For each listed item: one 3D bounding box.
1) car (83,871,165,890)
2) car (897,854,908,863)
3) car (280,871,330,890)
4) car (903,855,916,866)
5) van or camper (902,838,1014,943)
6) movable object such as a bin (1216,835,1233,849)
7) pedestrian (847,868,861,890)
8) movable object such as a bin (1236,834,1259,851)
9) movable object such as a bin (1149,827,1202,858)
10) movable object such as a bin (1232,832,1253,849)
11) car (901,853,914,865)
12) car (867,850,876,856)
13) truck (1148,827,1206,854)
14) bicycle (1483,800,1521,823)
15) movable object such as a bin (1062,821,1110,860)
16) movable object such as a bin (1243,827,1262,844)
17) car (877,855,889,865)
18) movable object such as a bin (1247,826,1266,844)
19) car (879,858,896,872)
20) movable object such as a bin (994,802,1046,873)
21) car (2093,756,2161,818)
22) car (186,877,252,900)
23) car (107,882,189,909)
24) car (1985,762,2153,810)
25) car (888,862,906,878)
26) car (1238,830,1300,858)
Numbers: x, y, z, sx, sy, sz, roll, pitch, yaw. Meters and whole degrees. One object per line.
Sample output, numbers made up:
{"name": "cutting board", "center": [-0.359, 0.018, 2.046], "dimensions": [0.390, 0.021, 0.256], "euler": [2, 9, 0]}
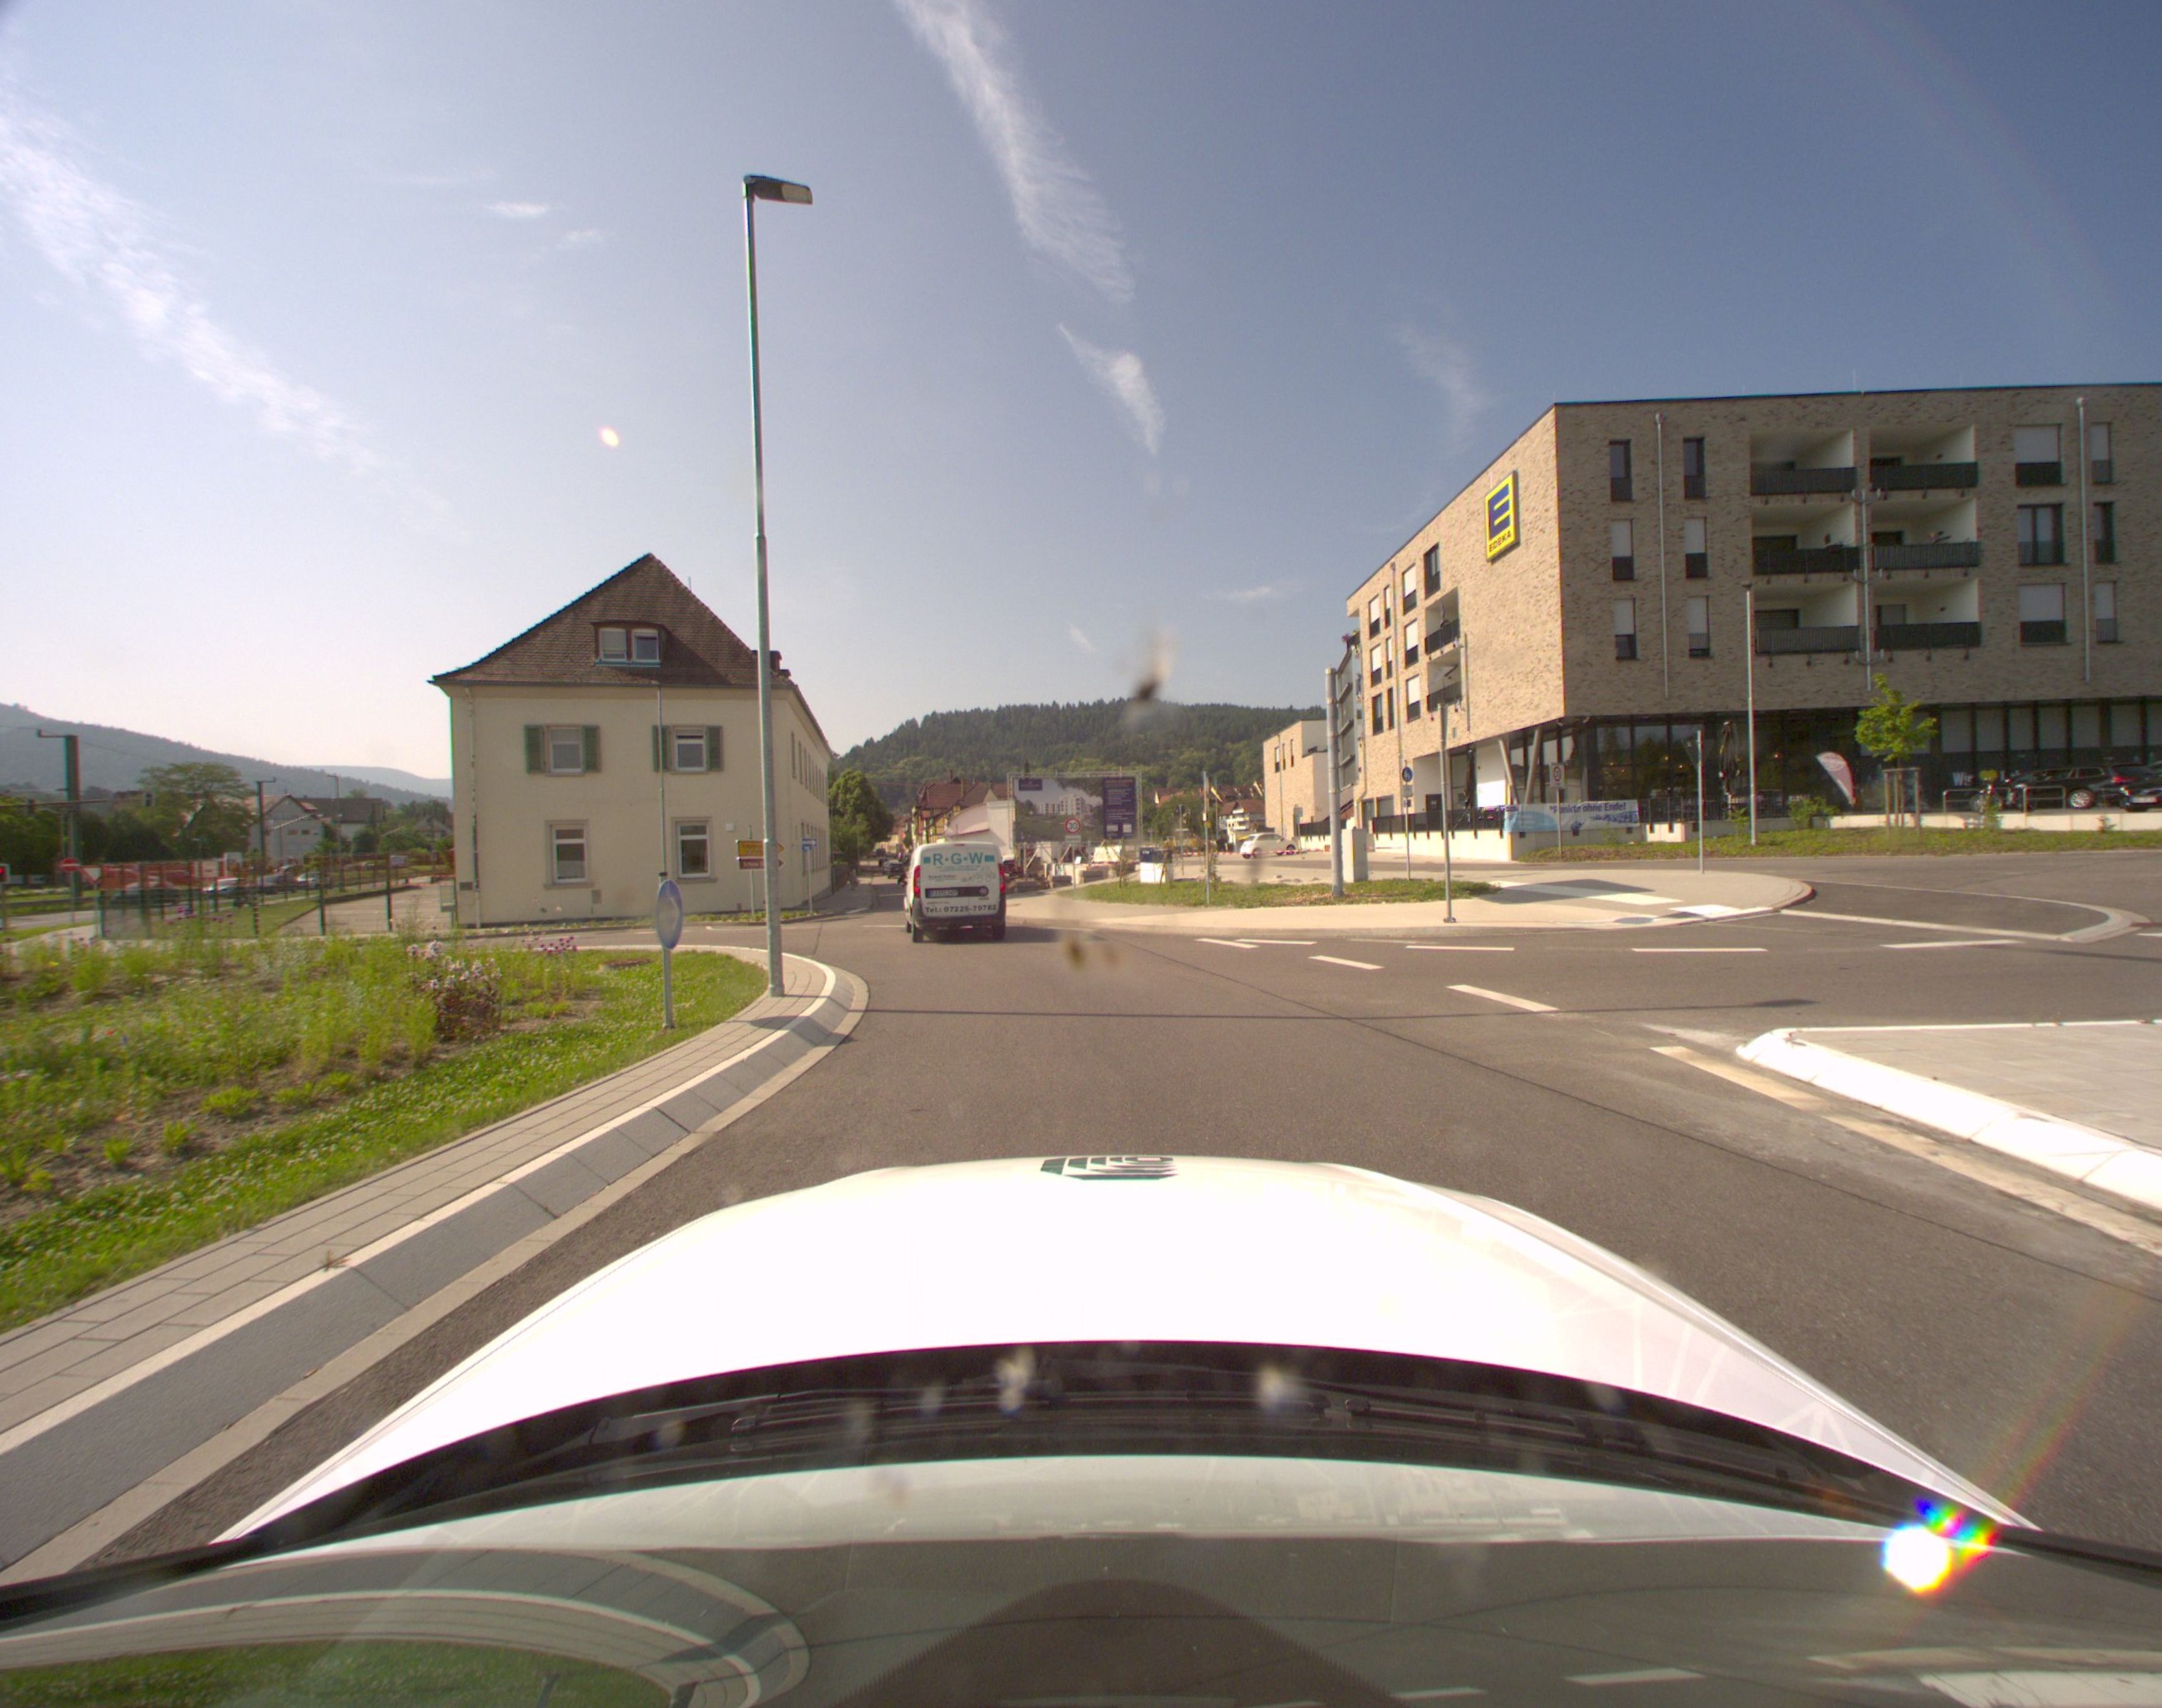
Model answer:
{"name": "car", "center": [-78.849, 2.144, 67.148], "dimensions": [4.010, 1.397, 1.699], "euler": [0, 1, -28]}
{"name": "car", "center": [-33.803, 0.879, 153.997], "dimensions": [1.673, 1.508, 3.978], "euler": [-3, 1, -16]}
{"name": "car", "center": [-65.489, 2.178, 68.763], "dimensions": [1.716, 1.397, 3.970], "euler": [0, 1, -23]}
{"name": "car", "center": [-27.051, 1.048, 128.605], "dimensions": [1.813, 1.596, 3.908], "euler": [0, 1, -14]}
{"name": "van or camper", "center": [-2.662, 0.712, 16.785], "dimensions": [1.831, 1.844, 4.167], "euler": [-2, -2, -14]}
{"name": "movable object such as a bin", "center": [13.314, -1.110, 75.401], "dimensions": [1.293, 1.268, 1.318], "euler": [0, 1, -4]}
{"name": "pedestrian", "center": [-17.121, 1.885, 61.462], "dimensions": [0.959, 1.631, 0.754], "euler": [-1, -1, -15]}
{"name": "movable object such as a bin", "center": [14.616, -1.040, 71.689], "dimensions": [1.690, 1.464, 1.318], "euler": [0, 1, -4]}
{"name": "movable object such as a bin", "center": [8.764, -1.051, 75.384], "dimensions": [4.582, 2.569, 1.931], "euler": [-4, 0, 11]}
{"name": "movable object such as a bin", "center": [14.527, -1.226, 73.178], "dimensions": [1.577, 1.464, 1.318], "euler": [0, 1, -4]}
{"name": "car", "center": [-29.486, 0.862, 138.295], "dimensions": [1.874, 2.013, 3.980], "euler": [-1, 1, -15]}
{"name": "car", "center": [-53.984, -0.199, 209.749], "dimensions": [1.816, 1.596, 3.902], "euler": [0, 1, -19]}
{"name": "truck", "center": [9.308, -1.277, 78.627], "dimensions": [5.280, 2.265, 2.226], "euler": [-4, 0, 11]}
{"name": "bicycle", "center": [20.487, -2.041, 39.640], "dimensions": [0.689, 1.045, 2.244], "euler": [0, 1, 0]}
{"name": "movable object such as a bin", "center": [0.566, -1.261, 78.674], "dimensions": [2.826, 3.621, 5.765], "euler": [1, 1, 21]}
{"name": "movable object such as a bin", "center": [14.766, -1.615, 70.264], "dimensions": [1.297, 1.464, 1.318], "euler": [0, 1, -4]}
{"name": "car", "center": [-32.364, 1.001, 133.054], "dimensions": [1.811, 1.596, 3.912], "euler": [0, 1, -11]}
{"name": "movable object such as a bin", "center": [14.826, -1.583, 68.855], "dimensions": [1.297, 1.464, 1.318], "euler": [0, 1, -4]}
{"name": "car", "center": [-23.556, 1.332, 99.272], "dimensions": [1.811, 1.596, 3.912], "euler": [0, 1, -11]}
{"name": "movable object such as a bin", "center": [-3.725, -0.861, 48.346], "dimensions": [2.295, 3.854, 7.771], "euler": [0, 0, -10]}
{"name": "car", "center": [30.290, -1.903, 21.732], "dimensions": [4.433, 1.555, 1.857], "euler": [-4, 3, -2]}
{"name": "car", "center": [-60.566, 2.381, 57.302], "dimensions": [1.716, 1.397, 3.970], "euler": [0, 1, -23]}
{"name": "car", "center": [-57.253, 2.509, 50.081], "dimensions": [1.716, 1.397, 3.970], "euler": [0, 1, -23]}
{"name": "car", "center": [32.833, -2.223, 27.196], "dimensions": [1.484, 1.350, 3.326], "euler": [0, 1, -5]}
{"name": "car", "center": [-19.245, 1.655, 85.183], "dimensions": [1.813, 1.596, 3.909], "euler": [0, 1, -14]}
{"name": "car", "center": [11.708, -0.606, 50.754], "dimensions": [3.411, 1.495, 1.586], "euler": [-3, -1, -15]}
